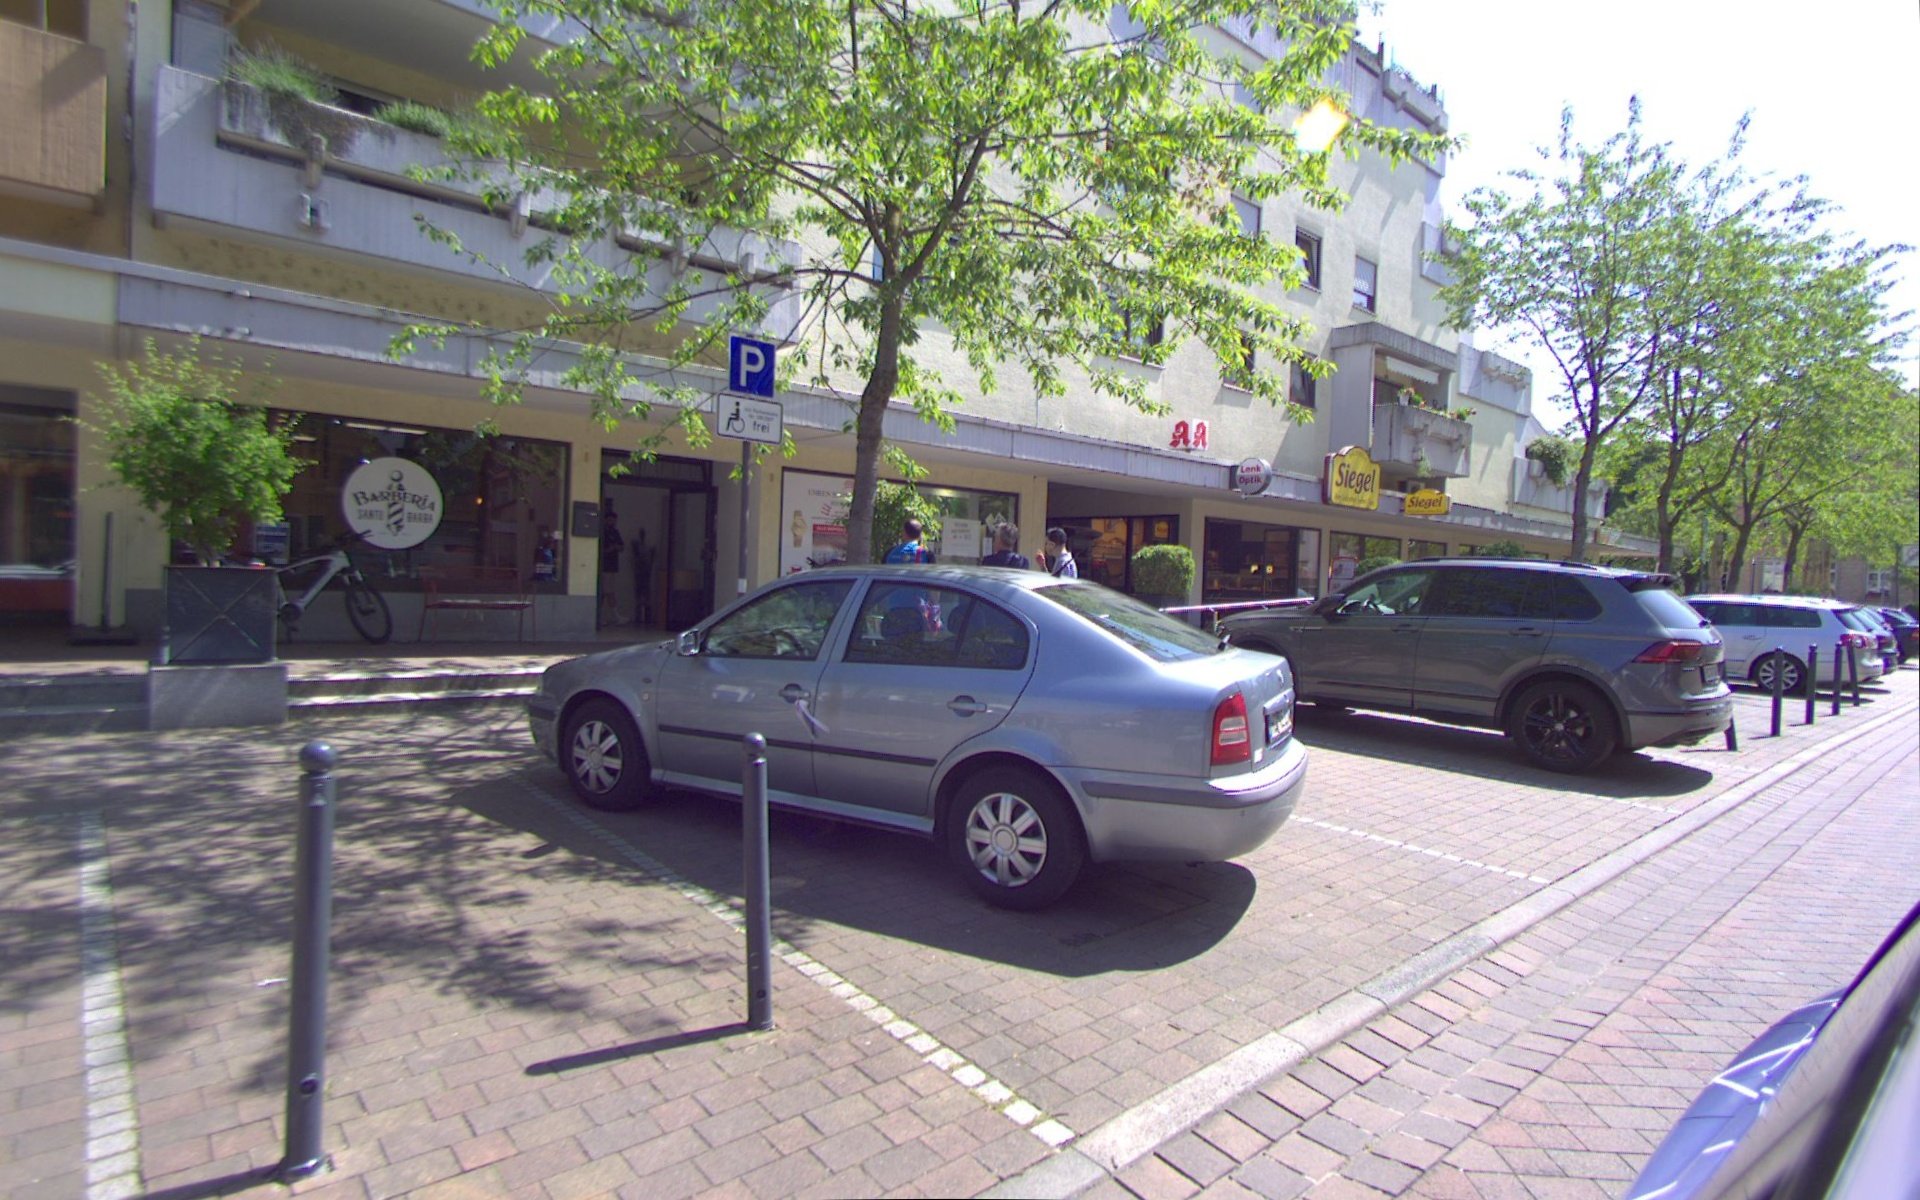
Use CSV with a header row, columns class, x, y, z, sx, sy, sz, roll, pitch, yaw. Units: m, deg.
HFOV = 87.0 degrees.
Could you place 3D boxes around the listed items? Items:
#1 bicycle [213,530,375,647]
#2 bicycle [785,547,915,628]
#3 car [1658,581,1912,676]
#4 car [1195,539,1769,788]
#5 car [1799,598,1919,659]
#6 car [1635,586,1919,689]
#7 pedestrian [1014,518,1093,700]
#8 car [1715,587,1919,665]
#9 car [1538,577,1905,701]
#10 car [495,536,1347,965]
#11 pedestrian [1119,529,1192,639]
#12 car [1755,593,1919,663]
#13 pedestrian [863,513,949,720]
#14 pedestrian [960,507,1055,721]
class,x,y,z,sx,sy,sz,roll,pitch,yaw
bicycle,-6.554,-0.120,10.008,0.359,1.080,1.295,1,1,39
bicycle,-1.553,-0.183,14.512,1.834,1.095,0.642,0,1,-42
car,16.384,0.495,20.232,1.604,1.535,3.652,1,3,-40
car,4.467,0.356,9.219,1.727,1.637,4.251,1,3,-42
car,24.055,0.719,26.745,1.246,1.463,2.702,1,2,-41
car,14.712,0.592,18.315,1.585,1.448,3.800,1,4,-40
pedestrian,0.919,0.086,10.072,0.635,1.752,0.617,1,1,-7
car,20.053,0.558,23.763,1.493,1.481,3.401,1,3,-40
car,12.564,0.526,16.975,1.775,1.562,4.586,1,4,-40
car,-0.324,0.466,5.573,4.349,1.481,1.872,3,2,29
pedestrian,3.314,-0.274,17.172,0.853,1.802,0.760,1,2,-34
car,22.019,0.659,25.047,1.434,1.407,3.401,1,3,-40
pedestrian,-0.482,0.133,9.233,0.621,1.795,0.685,2,1,9
pedestrian,0.415,0.115,8.986,0.593,1.818,0.629,1,1,-21
